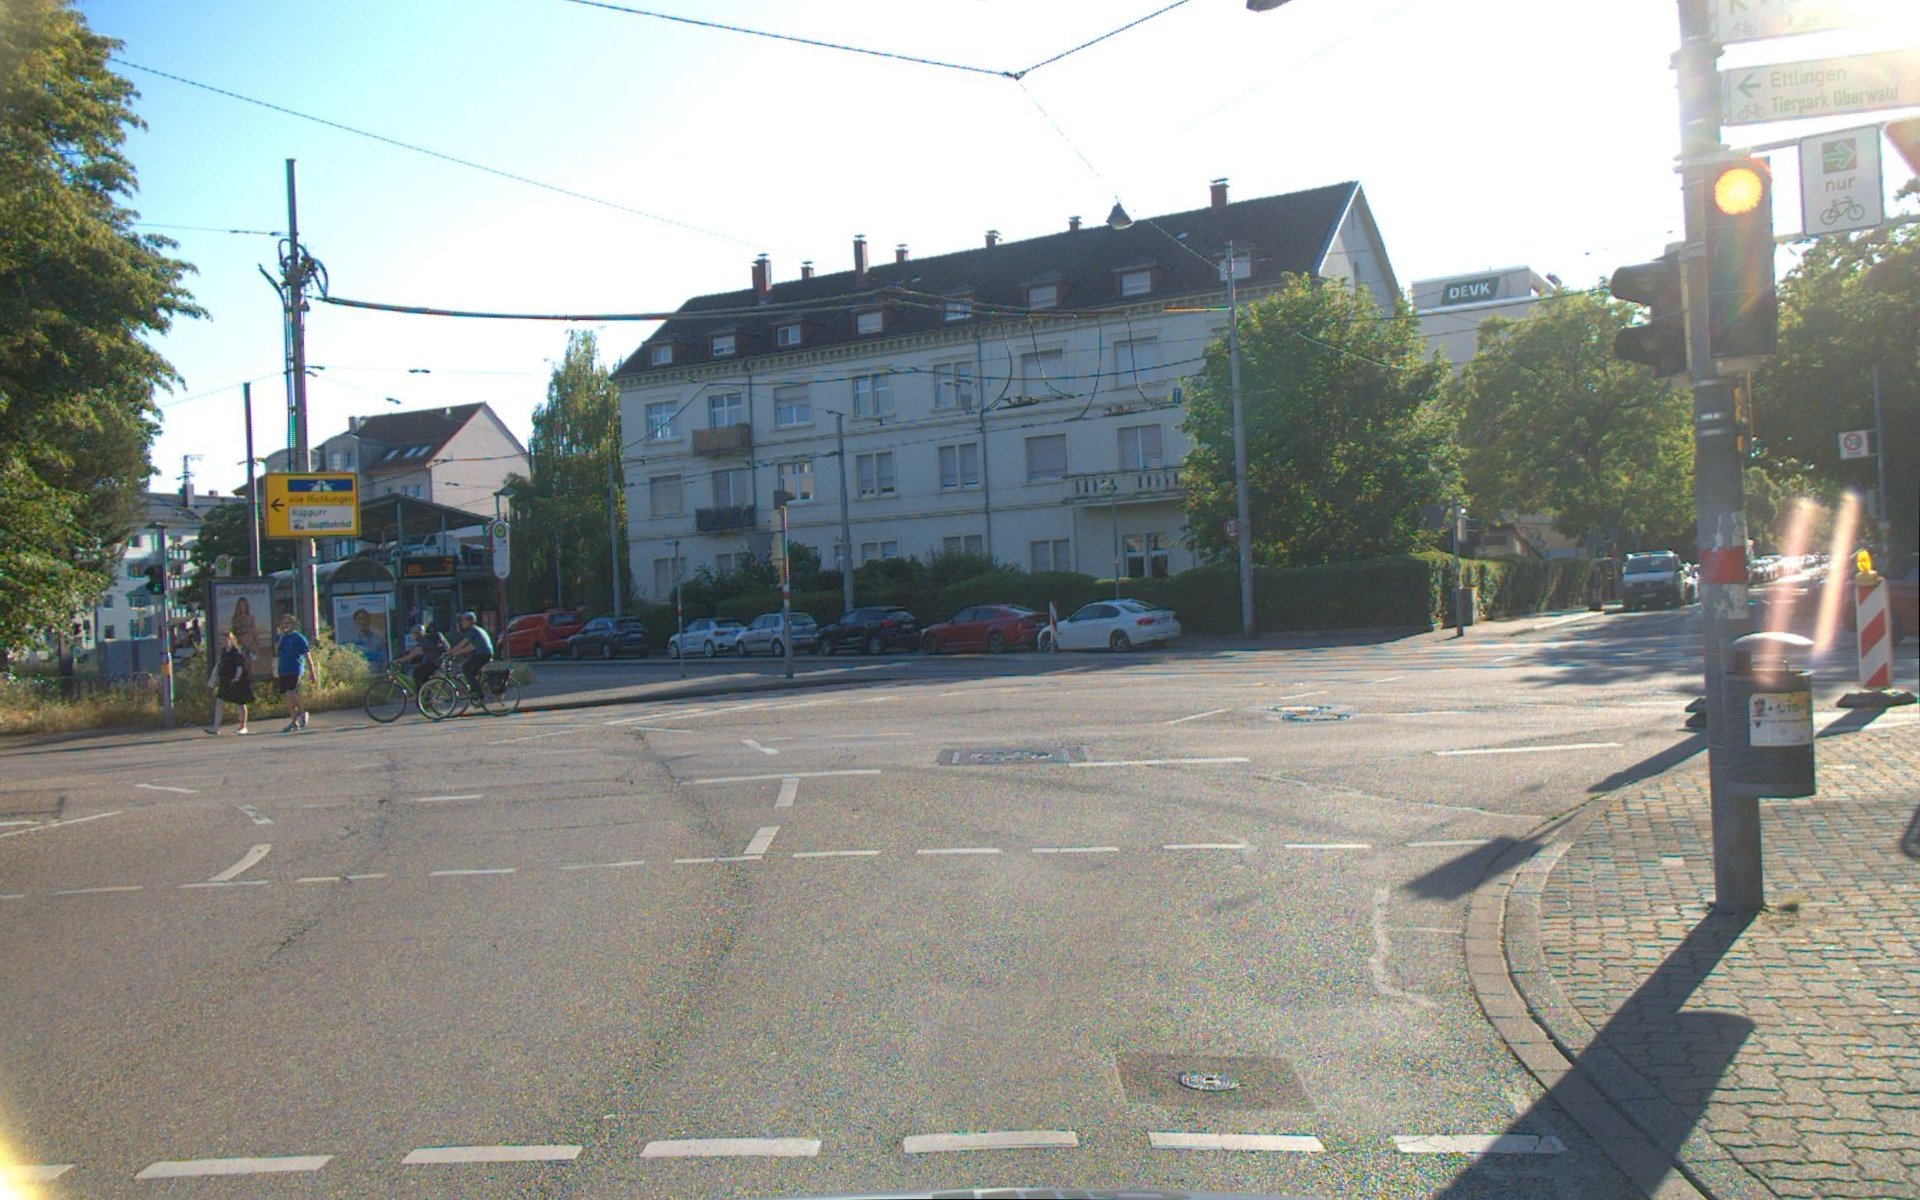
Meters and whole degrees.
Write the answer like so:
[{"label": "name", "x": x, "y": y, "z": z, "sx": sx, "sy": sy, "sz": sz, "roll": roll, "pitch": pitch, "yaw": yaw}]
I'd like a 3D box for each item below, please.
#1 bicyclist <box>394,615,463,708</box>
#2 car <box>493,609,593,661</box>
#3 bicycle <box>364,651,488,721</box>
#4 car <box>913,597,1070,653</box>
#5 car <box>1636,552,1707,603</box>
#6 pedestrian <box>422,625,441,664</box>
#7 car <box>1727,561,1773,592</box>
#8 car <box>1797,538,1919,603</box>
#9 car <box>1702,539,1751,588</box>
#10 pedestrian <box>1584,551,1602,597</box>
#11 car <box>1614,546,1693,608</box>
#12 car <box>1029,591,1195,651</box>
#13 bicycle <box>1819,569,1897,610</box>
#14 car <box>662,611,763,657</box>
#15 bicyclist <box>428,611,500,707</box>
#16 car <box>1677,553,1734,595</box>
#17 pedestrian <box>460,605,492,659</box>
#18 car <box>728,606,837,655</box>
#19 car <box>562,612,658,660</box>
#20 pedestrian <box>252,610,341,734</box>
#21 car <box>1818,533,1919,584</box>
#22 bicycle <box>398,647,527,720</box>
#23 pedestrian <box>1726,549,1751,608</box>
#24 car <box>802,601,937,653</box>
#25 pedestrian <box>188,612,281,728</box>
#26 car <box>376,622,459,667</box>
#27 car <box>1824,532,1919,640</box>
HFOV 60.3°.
[{"label": "bicyclist", "x": -9.367, "y": 1.076, "z": 29.175, "sx": 1.016, "sy": 1.558, "sz": 0.659, "roll": -3, "pitch": 0, "yaw": -12}, {"label": "car", "x": -18.167, "y": 1.523, "z": 71.944, "sx": 2.039, "sy": 1.995, "sz": 5.073, "roll": -6, "pitch": 2, "yaw": -41}, {"label": "bicycle", "x": -9.404, "y": 1.505, "z": 29.196, "sx": 1.978, "sy": 1.087, "sz": 0.661, "roll": -3, "pitch": 0, "yaw": -13}, {"label": "car", "x": 0.910, "y": 0.771, "z": 50.119, "sx": 4.625, "sy": 1.400, "sz": 1.974, "roll": -3, "pitch": 2, "yaw": 44}, {"label": "car", "x": 28.345, "y": -0.913, "z": 65.757, "sx": 2.308, "sy": 1.826, "sz": 5.306, "roll": -3, "pitch": 0, "yaw": 26}, {"label": "pedestrian", "x": -21.146, "y": 1.792, "z": 66.145, "sx": 0.560, "sy": 1.527, "sz": 0.672, "roll": -3, "pitch": 0, "yaw": -29}, {"label": "car", "x": 51.017, "y": -1.527, "z": 106.761, "sx": 2.310, "sy": 1.826, "sz": 5.301, "roll": -3, "pitch": 0, "yaw": 29}, {"label": "car", "x": 31.339, "y": -1.013, "z": 55.667, "sx": 5.510, "sy": 1.958, "sz": 2.360, "roll": -3, "pitch": -2, "yaw": 26}, {"label": "car", "x": 43.107, "y": -2.026, "z": 92.941, "sx": 2.308, "sy": 2.558, "sz": 5.306, "roll": -3, "pitch": 0, "yaw": 26}, {"label": "pedestrian", "x": 24.638, "y": -1.005, "z": 64.371, "sx": 0.567, "sy": 1.761, "sz": 0.608, "roll": -3, "pitch": 0, "yaw": 23}, {"label": "car", "x": 25.344, "y": -0.865, "z": 60.332, "sx": 2.308, "sy": 2.049, "sz": 5.306, "roll": -3, "pitch": 0, "yaw": 26}, {"label": "car", "x": 4.196, "y": 0.593, "z": 46.176, "sx": 1.916, "sy": 1.400, "sz": 4.426, "roll": -6, "pitch": 2, "yaw": -43}, {"label": "bicycle", "x": 22.770, "y": -0.259, "z": 41.978, "sx": 1.690, "sy": 0.949, "sz": 0.671, "roll": -3, "pitch": 0, "yaw": 29}, {"label": "car", "x": -9.178, "y": 1.276, "z": 61.208, "sx": 1.830, "sy": 1.472, "sz": 3.899, "roll": -6, "pitch": 2, "yaw": -41}, {"label": "bicyclist", "x": -8.428, "y": 0.987, "z": 28.134, "sx": 1.015, "sy": 1.558, "sz": 0.696, "roll": -3, "pitch": 0, "yaw": -10}, {"label": "car", "x": 35.638, "y": -1.243, "z": 78.969, "sx": 2.308, "sy": 1.826, "sz": 5.306, "roll": -3, "pitch": 0, "yaw": 26}, {"label": "pedestrian", "x": -19.074, "y": 1.268, "z": 65.196, "sx": 0.914, "sy": 2.049, "sz": 0.759, "roll": -3, "pitch": 0, "yaw": -37}, {"label": "car", "x": -6.215, "y": 1.087, "z": 57.762, "sx": 1.971, "sy": 1.472, "sz": 3.663, "roll": -6, "pitch": 2, "yaw": -41}, {"label": "car", "x": -14.196, "y": 1.480, "z": 66.965, "sx": 1.830, "sy": 1.696, "sz": 4.304, "roll": -6, "pitch": 2, "yaw": -41}, {"label": "pedestrian", "x": -10.976, "y": 1.179, "z": 27.391, "sx": 0.892, "sy": 1.958, "sz": 1.068, "roll": -3, "pitch": 0, "yaw": 5}, {"label": "car", "x": 40.812, "y": -1.822, "z": 73.117, "sx": 4.990, "sy": 1.958, "sz": 2.360, "roll": -3, "pitch": -2, "yaw": 26}, {"label": "bicycle", "x": -8.441, "y": 1.407, "z": 28.138, "sx": 1.975, "sy": 1.087, "sz": 0.662, "roll": -3, "pitch": 0, "yaw": -9}, {"label": "pedestrian", "x": 25.077, "y": -0.687, "z": 53.277, "sx": 0.648, "sy": 1.871, "sz": 0.682, "roll": -3, "pitch": 0, "yaw": 28}, {"label": "car", "x": -3.034, "y": 0.913, "z": 54.567, "sx": 1.970, "sy": 1.472, "sz": 4.634, "roll": -6, "pitch": 2, "yaw": -41}, {"label": "pedestrian", "x": -11.746, "y": 1.119, "z": 26.815, "sx": 0.892, "sy": 1.777, "sz": 1.068, "roll": -3, "pitch": 0, "yaw": 5}, {"label": "car", "x": -27.195, "y": 2.235, "z": 82.780, "sx": 2.039, "sy": 1.995, "sz": 5.073, "roll": -6, "pitch": 2, "yaw": -41}, {"label": "car", "x": 15.172, "y": -0.227, "z": 24.163, "sx": 1.867, "sy": 1.592, "sz": 4.362, "roll": 0, "pitch": -1, "yaw": -22}]
